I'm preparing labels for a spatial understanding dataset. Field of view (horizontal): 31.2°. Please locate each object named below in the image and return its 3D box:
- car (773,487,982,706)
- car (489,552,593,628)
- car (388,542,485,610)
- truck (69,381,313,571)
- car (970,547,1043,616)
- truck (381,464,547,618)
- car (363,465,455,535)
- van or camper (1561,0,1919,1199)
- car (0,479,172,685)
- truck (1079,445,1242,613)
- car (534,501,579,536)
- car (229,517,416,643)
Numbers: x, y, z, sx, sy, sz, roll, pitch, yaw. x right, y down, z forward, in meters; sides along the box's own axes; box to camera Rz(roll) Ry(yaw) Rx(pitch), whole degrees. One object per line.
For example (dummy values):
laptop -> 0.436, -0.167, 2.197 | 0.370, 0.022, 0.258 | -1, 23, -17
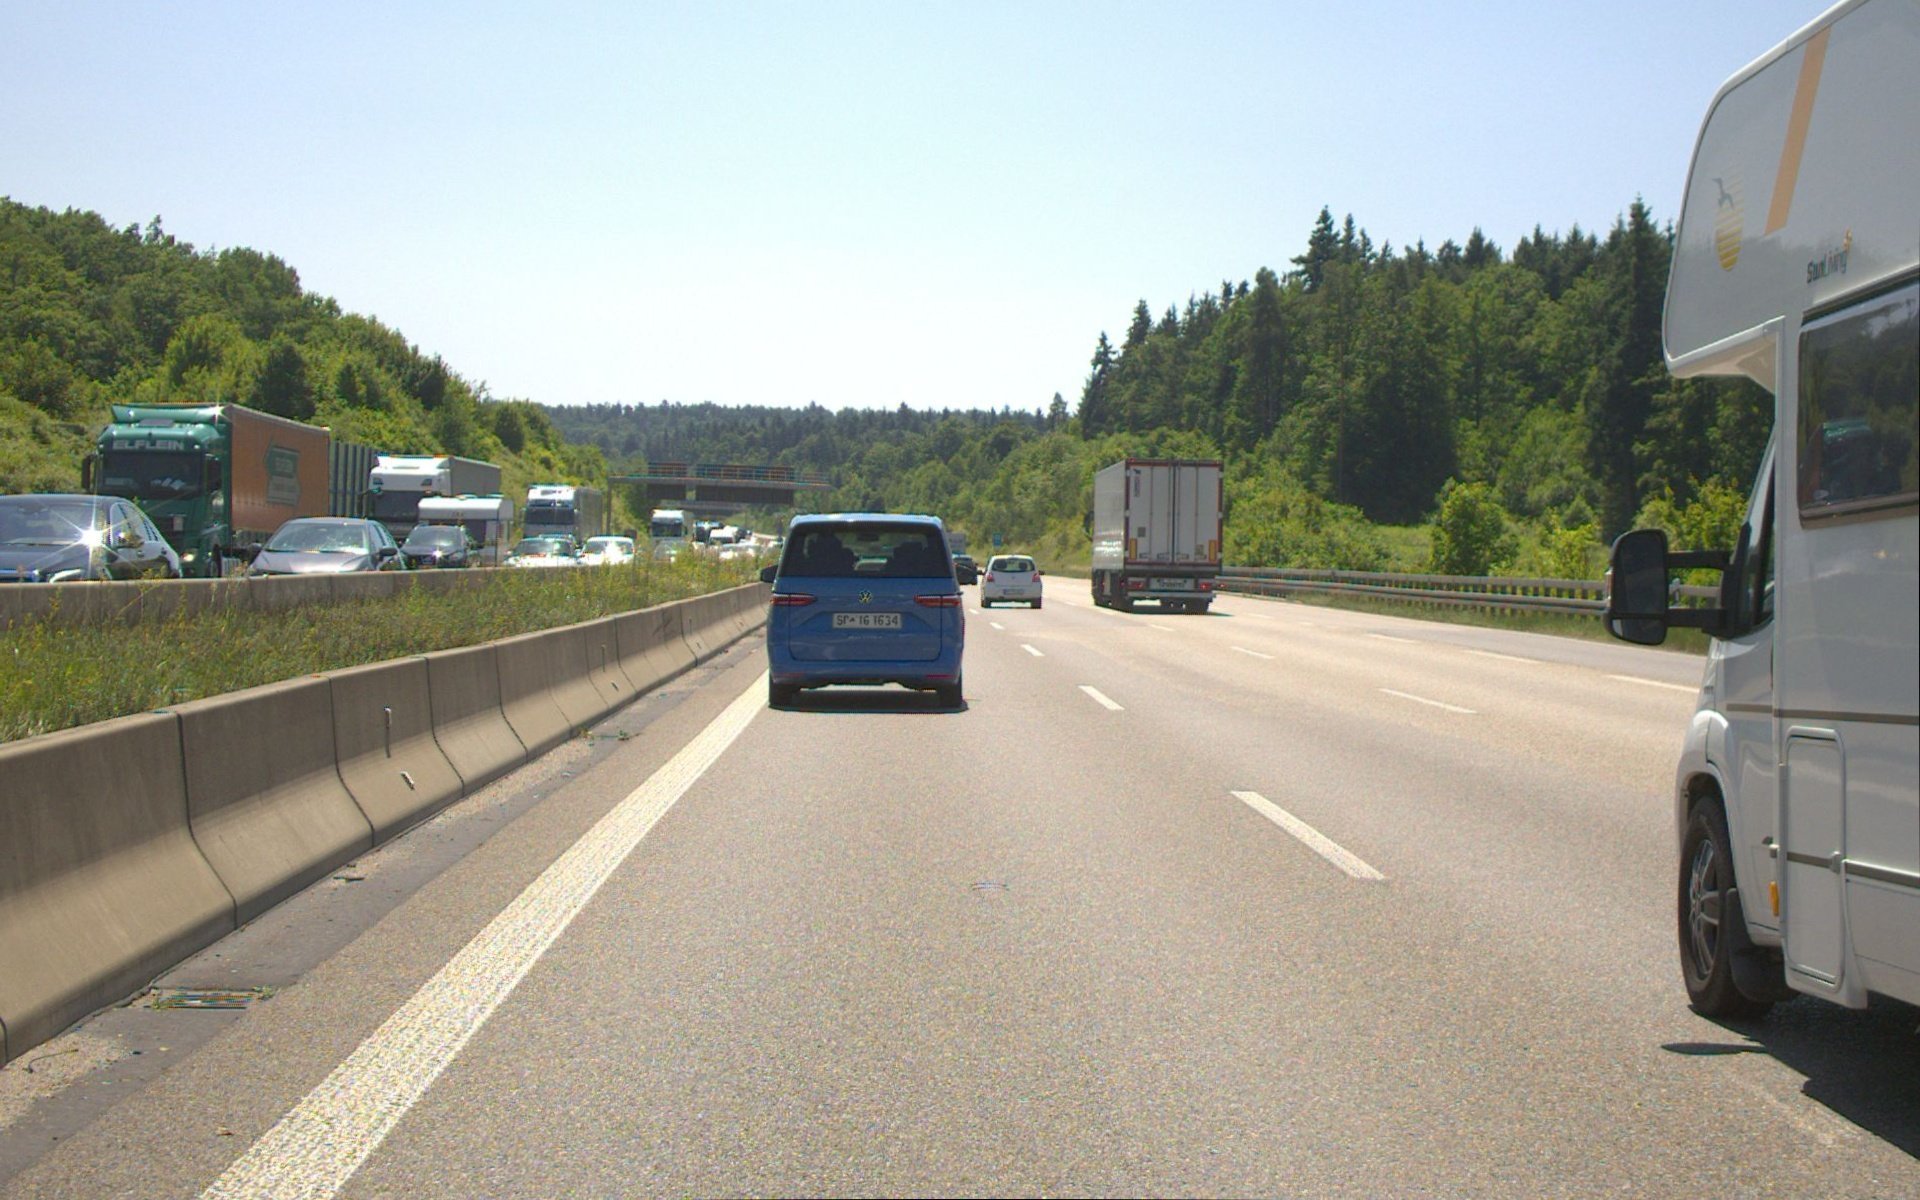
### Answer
car -> -0.810, -0.052, 34.286 | 1.909, 2.007, 4.000 | 2, 1, -1
car -> -9.382, -0.248, 77.221 | 1.788, 1.541, 4.000 | 4, 1, -1
car -> -13.107, -0.605, 86.268 | 1.788, 1.541, 4.000 | 4, 1, -1
truck -> -17.318, -2.690, 78.406 | 2.991, 3.790, 12.164 | 4, 1, -2
car -> 1.289, -0.537, 96.729 | 1.818, 1.788, 3.895 | 4, 1, -1
truck -> -13.580, -1.608, 95.170 | 2.991, 3.790, 12.164 | 4, 1, -2
car -> -17.790, -3.211, 111.270 | 2.086, 2.056, 5.059 | 4, 1, -1
van or camper -> 3.488, -0.073, 8.388 | 2.603, 3.068, 7.182 | 1, 1, -1
car -> -8.682, -0.222, 31.837 | 1.788, 1.747, 4.000 | 4, 1, -1
truck -> 5.387, -1.906, 94.167 | 3.487, 4.156, 8.642 | 4, 1, -1
car -> -18.933, -3.805, 161.431 | 1.604, 1.465, 3.897 | 4, 1, -1
car -> -8.769, -0.288, 47.604 | 1.788, 1.541, 4.000 | 4, 1, -1
